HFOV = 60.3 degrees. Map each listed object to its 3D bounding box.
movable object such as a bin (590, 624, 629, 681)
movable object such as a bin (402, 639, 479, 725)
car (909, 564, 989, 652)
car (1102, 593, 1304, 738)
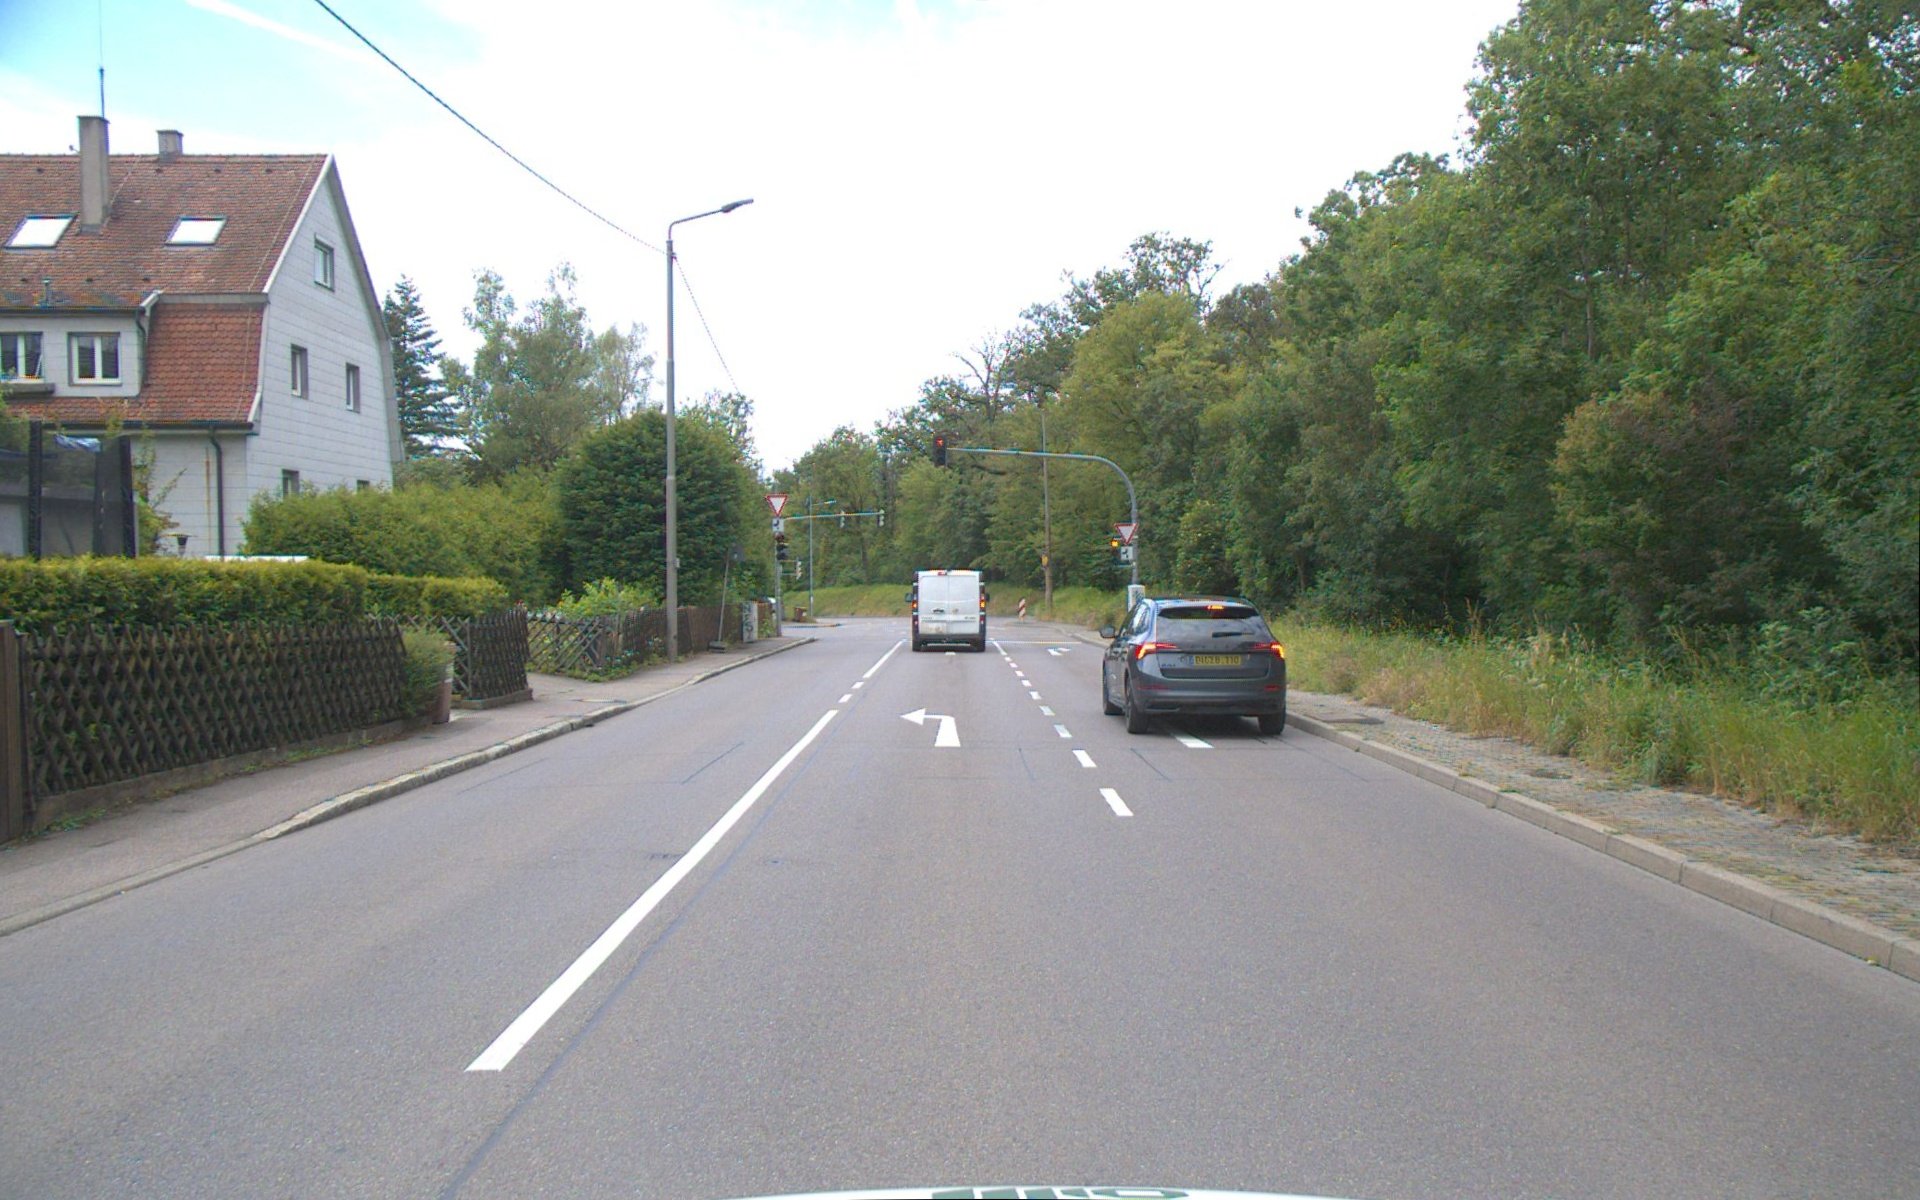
[{"bbox_3d":[-6.022,0.905,28.445,0.539,0.954,0.538,-1,0,1],"label":"movable object such as a bin"},{"bbox_3d":[-5.974,0.940,19.040,0.619,0.929,0.561,2,1,12],"label":"movable object such as a bin"},{"bbox_3d":[-0.332,0.182,42.102,1.878,2.089,4.612,-1,0,-2],"label":"car"},{"bbox_3d":[2.674,0.668,19.058,1.756,1.476,4.000,-1,0,0],"label":"car"}]
